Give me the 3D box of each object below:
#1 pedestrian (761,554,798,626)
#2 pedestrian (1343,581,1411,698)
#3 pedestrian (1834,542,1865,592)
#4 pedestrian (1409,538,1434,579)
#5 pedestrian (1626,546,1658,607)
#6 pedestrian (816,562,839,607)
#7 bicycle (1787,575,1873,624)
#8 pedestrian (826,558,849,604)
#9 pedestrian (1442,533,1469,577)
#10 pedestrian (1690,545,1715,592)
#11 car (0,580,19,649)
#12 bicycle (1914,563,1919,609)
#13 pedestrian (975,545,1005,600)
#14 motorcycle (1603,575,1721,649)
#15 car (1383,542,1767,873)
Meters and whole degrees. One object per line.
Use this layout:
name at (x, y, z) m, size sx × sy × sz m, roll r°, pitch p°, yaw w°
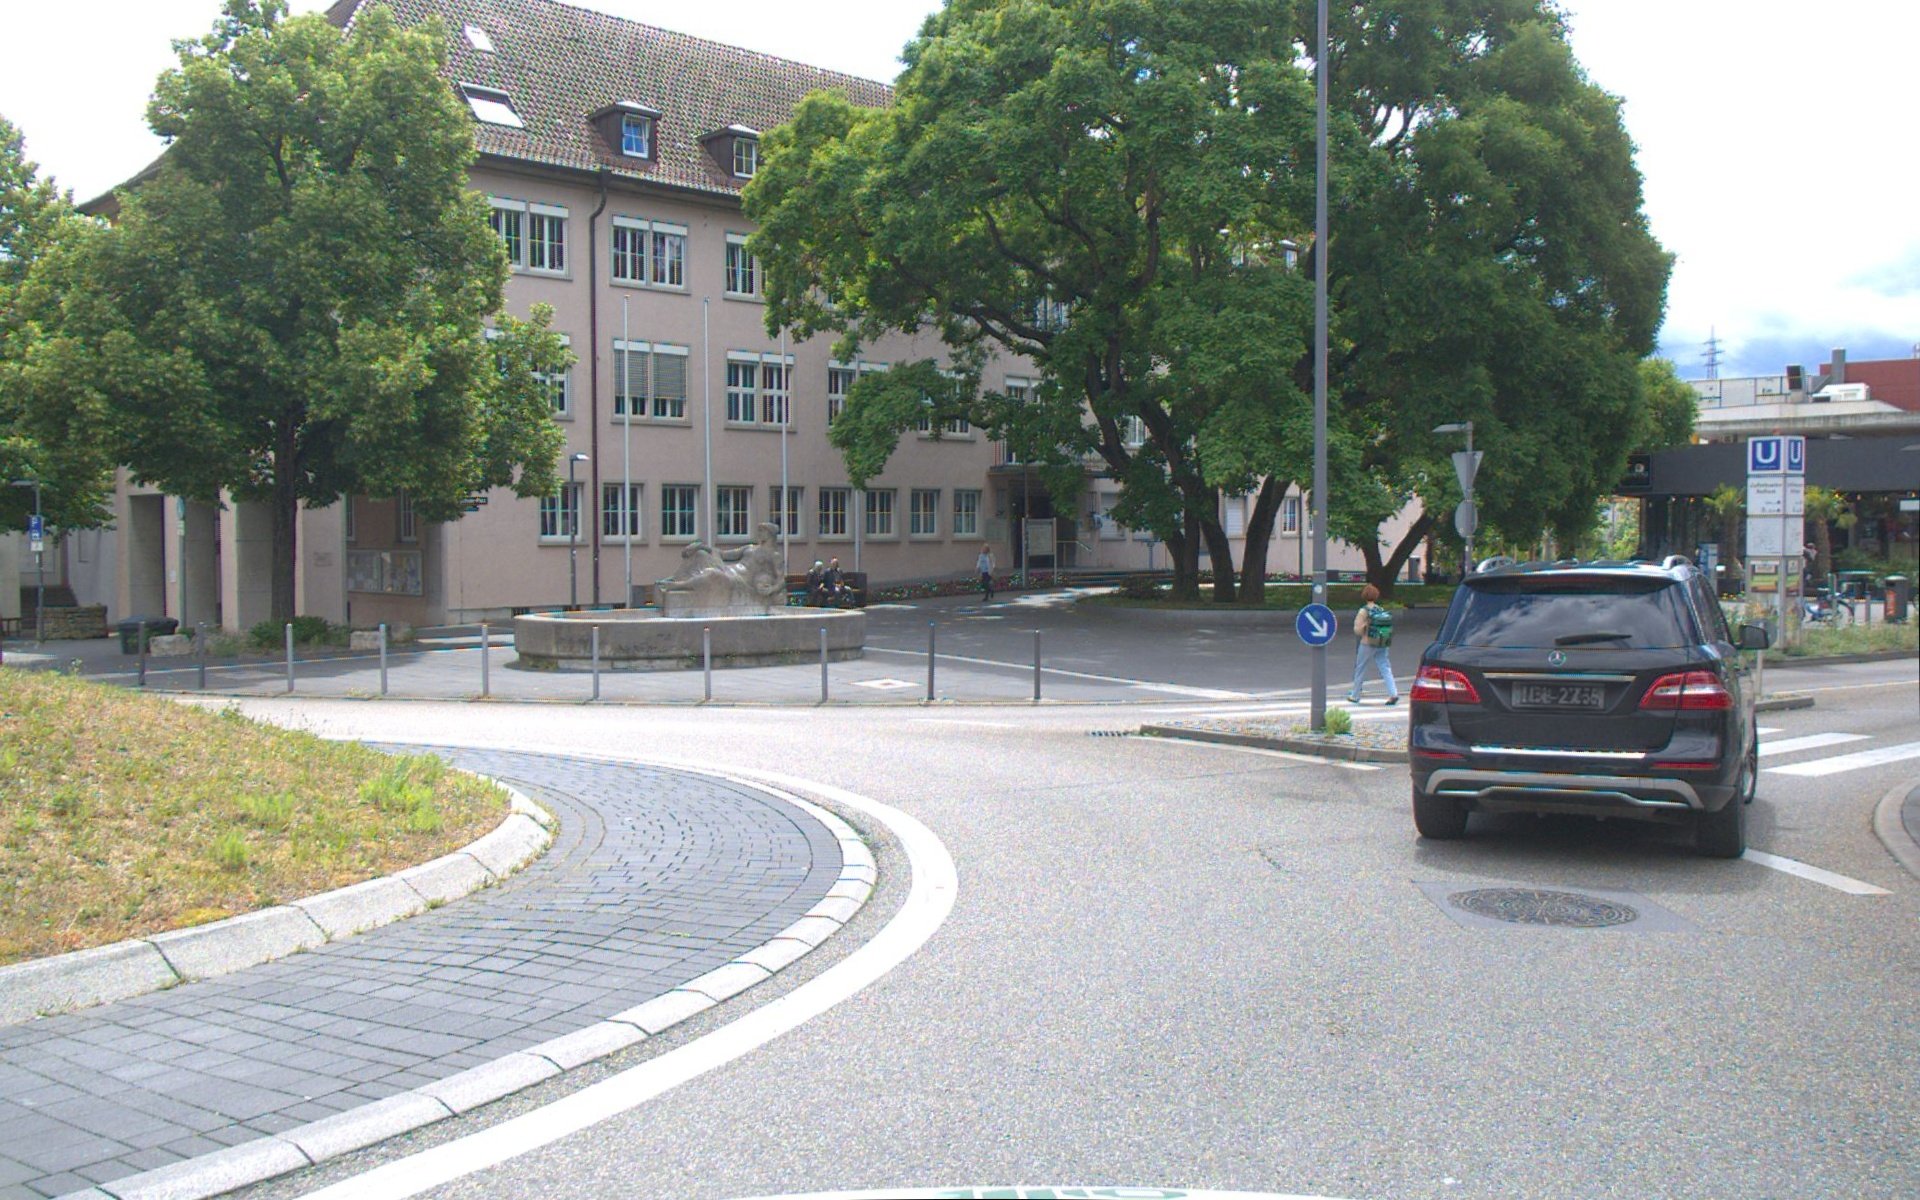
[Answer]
pedestrian at (-4.010, -0.226, 36.684) m, size 0.628 × 1.549 × 0.573 m, roll 0°, pitch 4°, yaw -25°
pedestrian at (5.769, 0.535, 22.895) m, size 0.544 × 1.540 × 0.781 m, roll -2°, pitch 3°, yaw -27°
pedestrian at (26.618, -0.986, 49.492) m, size 0.608 × 1.489 × 0.576 m, roll -1°, pitch 1°, yaw -32°
pedestrian at (18.260, -1.649, 65.455) m, size 0.781 × 1.604 × 0.627 m, roll -1°, pitch 1°, yaw -40°
pedestrian at (18.228, -0.631, 44.224) m, size 0.601 × 1.604 × 0.583 m, roll 0°, pitch 1°, yaw 0°
pedestrian at (-3.522, -0.412, 43.994) m, size 0.476 × 1.203 × 0.581 m, roll 1°, pitch 0°, yaw 7°
bicycle at (18.771, -0.024, 35.702) m, size 0.494 × 1.014 × 1.598 m, roll 0°, pitch 1°, yaw -33°
pedestrian at (-3.309, -0.512, 44.680) m, size 0.476 × 1.243 × 0.581 m, roll 1°, pitch 0°, yaw 7°
pedestrian at (18.728, -1.689, 62.527) m, size 0.631 × 1.656 × 0.777 m, roll -1°, pitch 1°, yaw -41°
pedestrian at (22.253, -0.950, 49.571) m, size 0.571 × 1.403 × 0.613 m, roll 0°, pitch 1°, yaw 38°
car at (-23.458, 0.319, 39.113) m, size 1.958 × 1.557 × 3.957 m, roll 0°, pitch 1°, yaw -32°
bicycle at (24.052, -0.332, 40.043) m, size 0.572 × 1.110 × 1.551 m, roll -1°, pitch 1°, yaw -39°
pedestrian at (0.840, -0.762, 46.510) m, size 0.686 × 1.519 × 0.813 m, roll 1°, pitch 0°, yaw -12°
motorcycle at (13.725, 0.208, 32.382) m, size 0.577 × 1.311 × 2.111 m, roll -3°, pitch 4°, yaw -37°
car at (4.347, 0.544, 11.209) m, size 1.988 × 1.757 × 4.429 m, roll 0°, pitch 1°, yaw 26°
